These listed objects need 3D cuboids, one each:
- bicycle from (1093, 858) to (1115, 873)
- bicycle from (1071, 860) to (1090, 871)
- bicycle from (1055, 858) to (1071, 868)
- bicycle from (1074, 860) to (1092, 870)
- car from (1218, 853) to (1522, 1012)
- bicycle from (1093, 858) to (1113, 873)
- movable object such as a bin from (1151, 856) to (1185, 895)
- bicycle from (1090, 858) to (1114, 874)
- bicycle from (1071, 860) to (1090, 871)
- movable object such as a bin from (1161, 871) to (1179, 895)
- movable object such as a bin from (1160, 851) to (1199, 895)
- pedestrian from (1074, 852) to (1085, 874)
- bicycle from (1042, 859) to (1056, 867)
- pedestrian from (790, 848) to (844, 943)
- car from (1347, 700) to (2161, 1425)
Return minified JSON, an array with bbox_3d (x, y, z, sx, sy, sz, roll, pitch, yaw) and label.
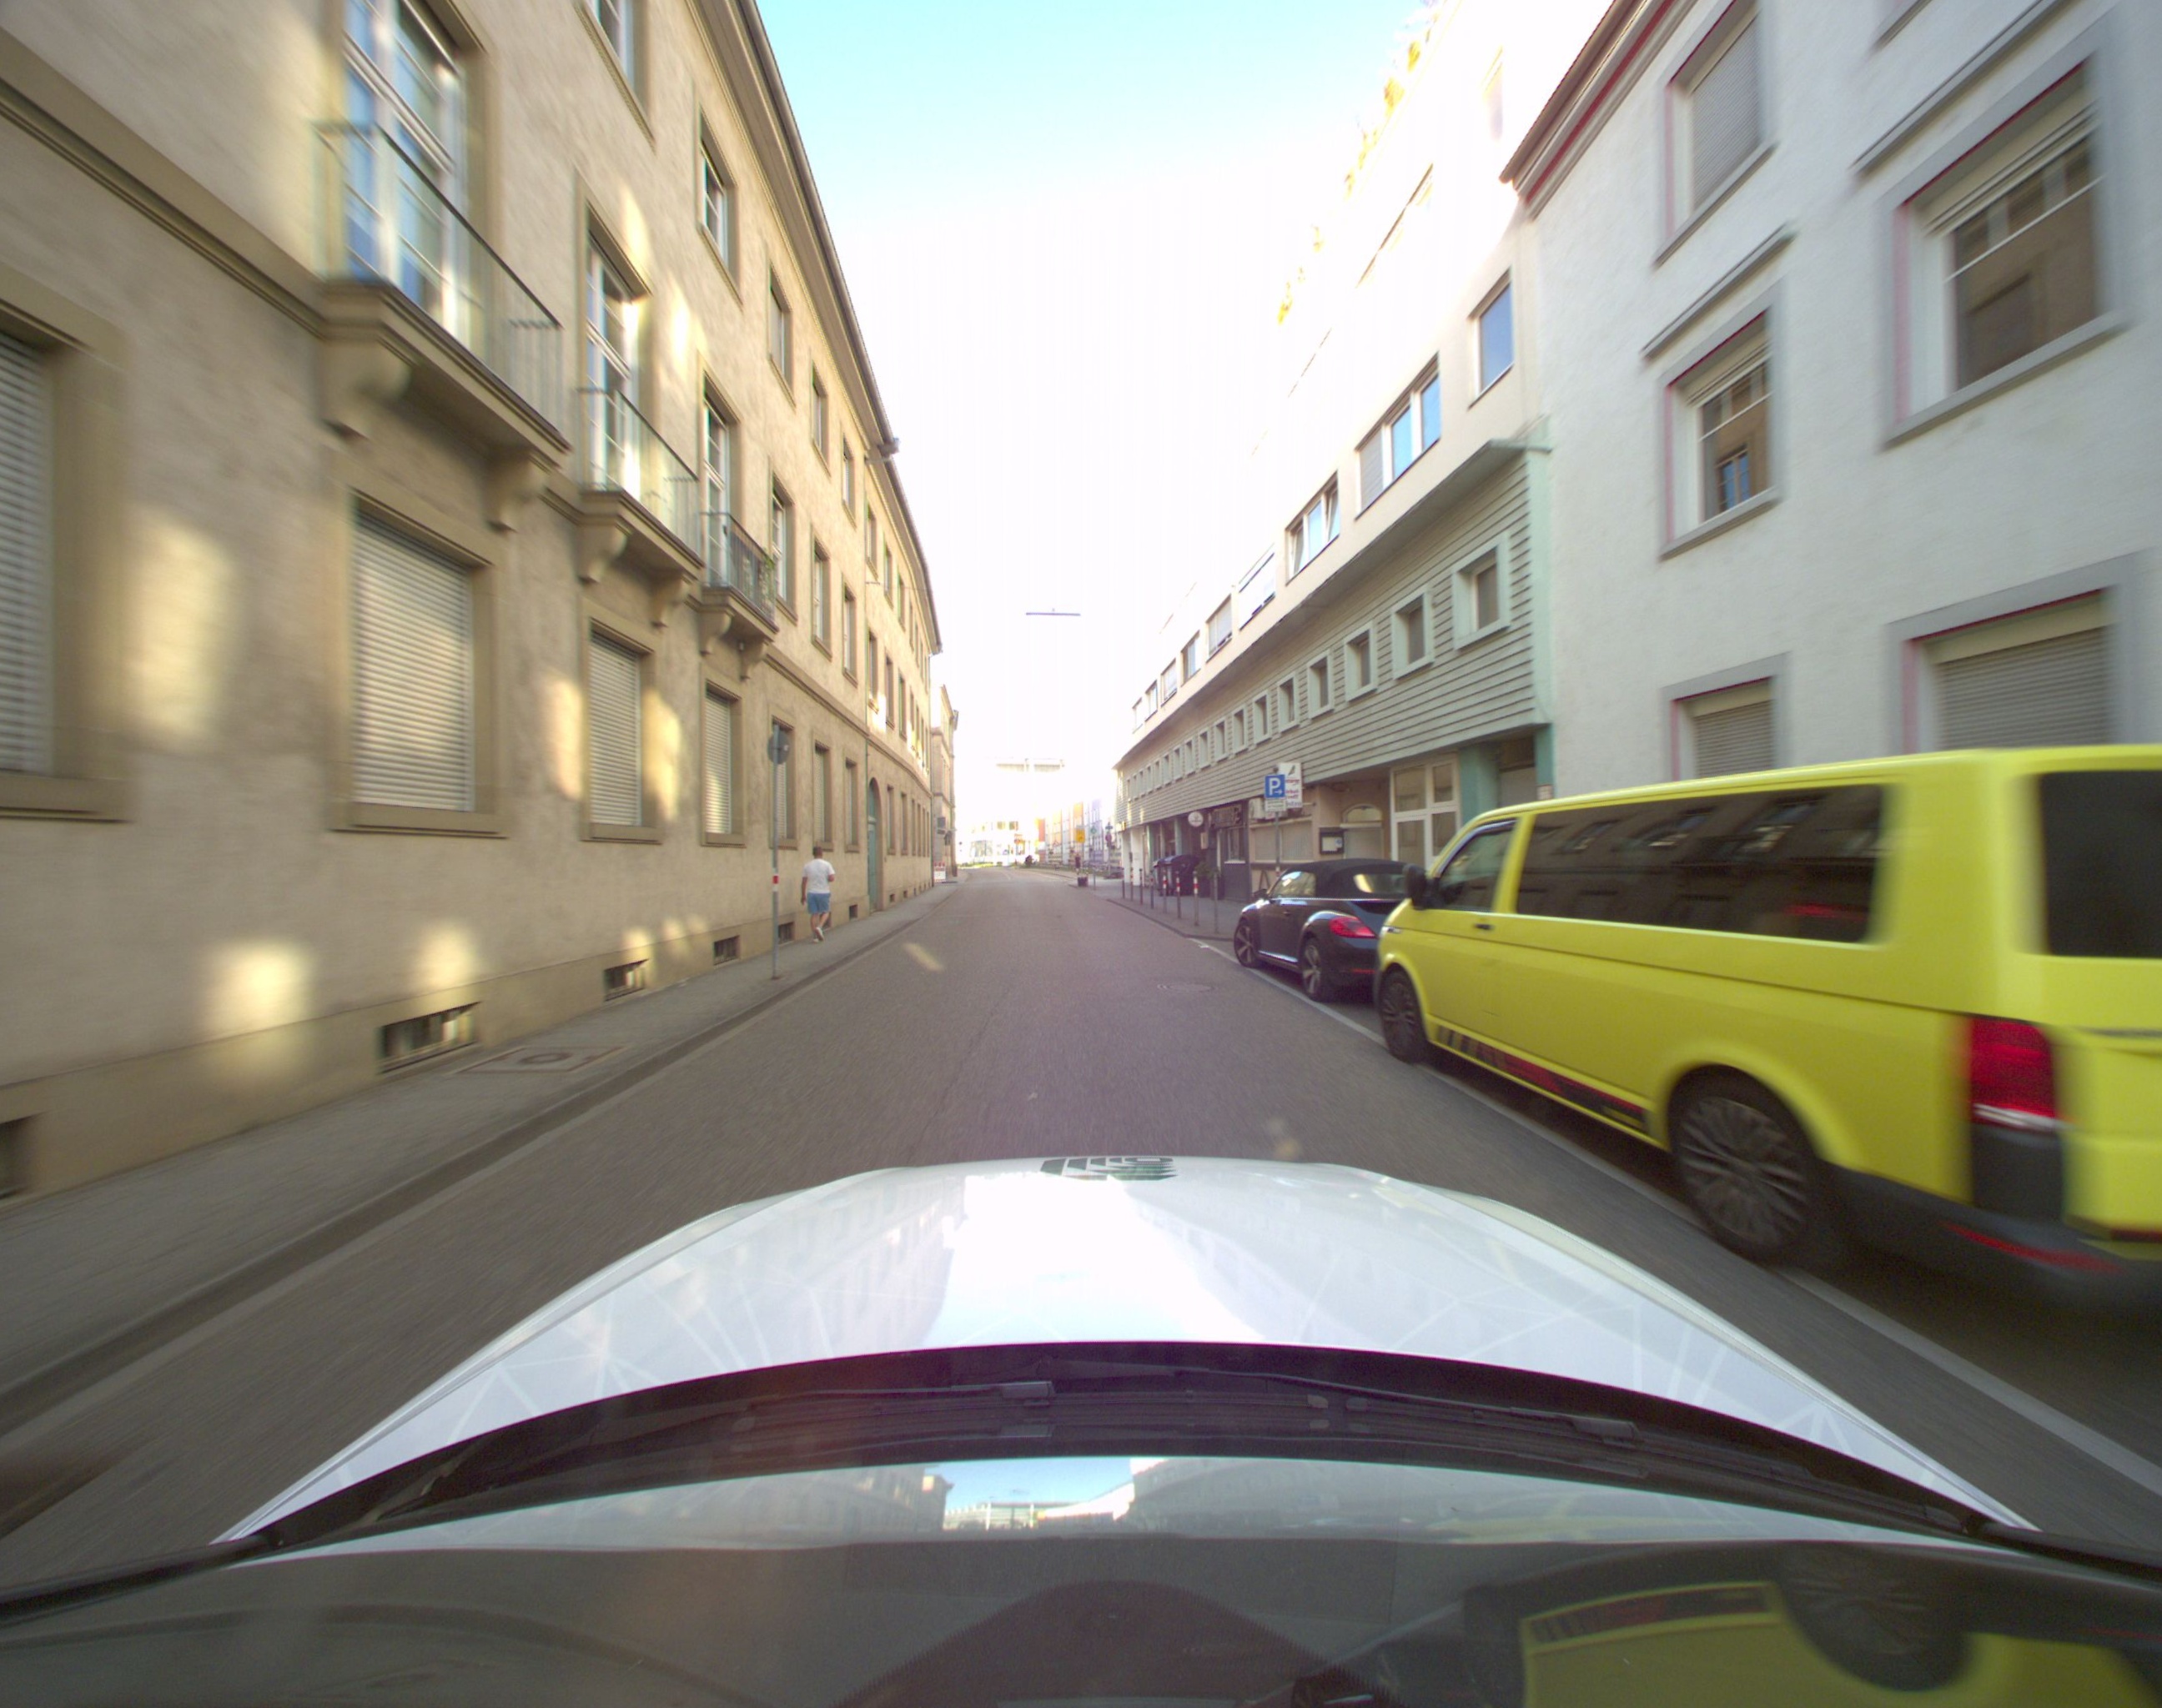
[{"bbox_3d":[1.856,0.943,66.009,1.644,1.141,0.282,-4,0,-16],"label":"bicycle"},{"bbox_3d":[-0.006,1.110,78.357,1.747,0.946,0.550,-2,-1,-8],"label":"bicycle"},{"bbox_3d":[-2.090,1.027,94.918,1.810,1.137,0.550,-1,-1,-10],"label":"bicycle"},{"bbox_3d":[0.220,1.092,80.179,1.747,0.946,0.325,-2,-1,-7],"label":"bicycle"},{"bbox_3d":[3.133,0.743,9.932,1.880,1.489,4.360,0,0,-5],"label":"car"},{"bbox_3d":[1.782,0.948,66.273,1.606,1.141,0.236,-4,0,-16],"label":"bicycle"},{"bbox_3d":[3.222,0.810,30.294,0.980,1.385,1.318,-2,-2,-5],"label":"movable object such as a bin"},{"bbox_3d":[1.638,0.963,64.555,1.747,1.141,0.550,-4,0,-8],"label":"bicycle"},{"bbox_3d":[-0.028,1.098,79.135,1.747,0.946,0.550,-2,-1,-8],"label":"bicycle"},{"bbox_3d":[3.408,1.105,31.314,0.556,0.899,0.522,-2,-3,-6],"label":"movable object such as a bin"},{"bbox_3d":[3.465,0.679,28.781,0.980,1.480,1.548,-2,-2,-5],"label":"movable object such as a bin"},{"bbox_3d":[-0.153,0.765,68.134,0.696,1.760,1.186,-4,0,-7],"label":"pedestrian"},{"bbox_3d":[-4.320,1.227,108.879,1.755,1.004,0.610,-2,-1,-13],"label":"bicycle"},{"bbox_3d":[-4.768,0.731,14.759,0.691,1.670,0.874,1,-1,-3],"label":"pedestrian"},{"bbox_3d":[3.320,0.538,4.592,1.879,1.882,4.840,0,0,-3],"label":"car"}]
